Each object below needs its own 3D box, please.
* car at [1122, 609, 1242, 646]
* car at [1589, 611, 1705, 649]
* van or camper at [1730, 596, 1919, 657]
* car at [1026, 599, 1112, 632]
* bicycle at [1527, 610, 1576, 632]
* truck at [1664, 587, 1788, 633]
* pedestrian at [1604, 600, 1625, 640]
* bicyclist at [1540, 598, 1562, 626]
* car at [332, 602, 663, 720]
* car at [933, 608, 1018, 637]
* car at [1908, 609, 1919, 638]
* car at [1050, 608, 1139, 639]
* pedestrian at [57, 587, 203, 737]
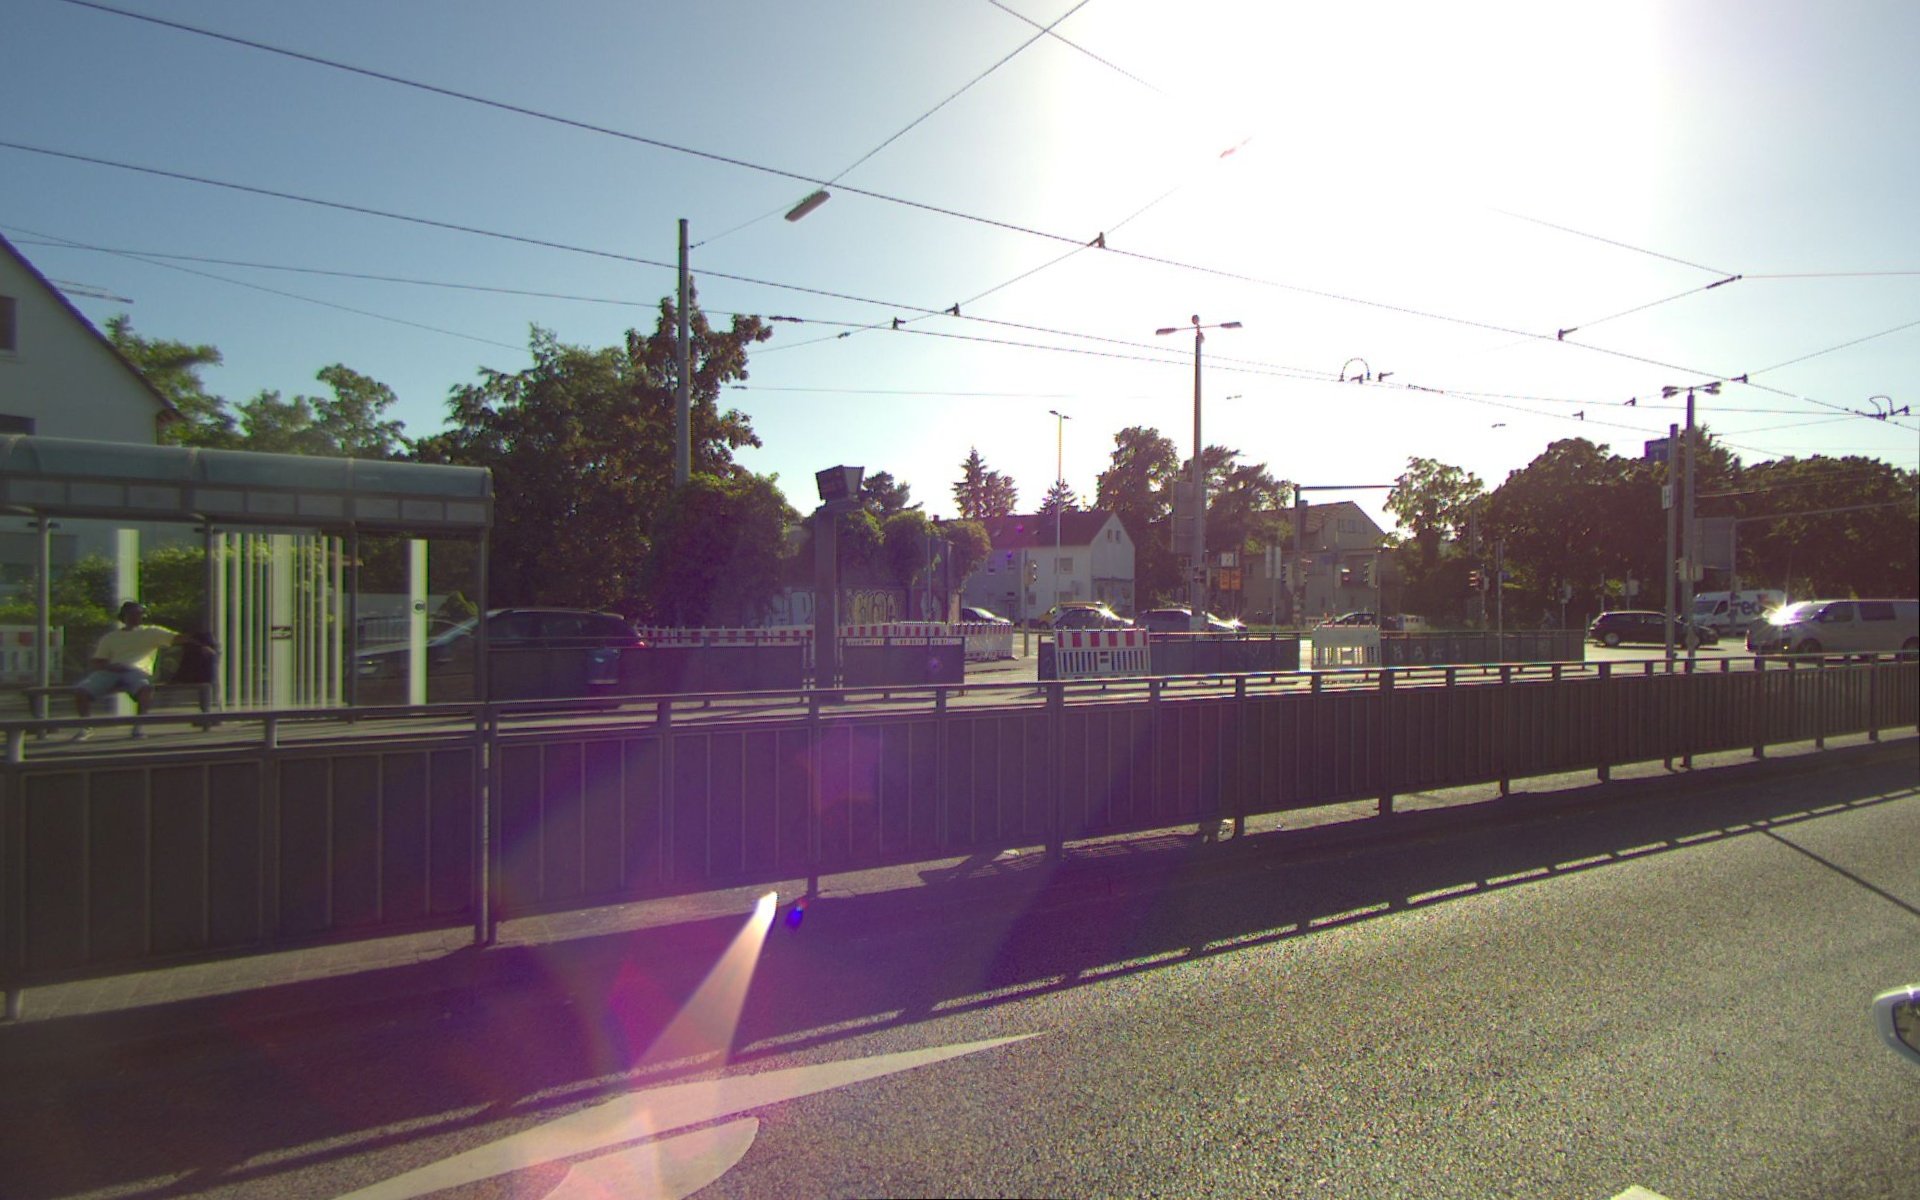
[{"bbox_3d":[9.519,1.131,43.307,4.754,1.517,1.780,0,-1,34],"label":"car"},{"bbox_3d":[26.342,1.117,38.658,3.613,1.397,1.524,0,-1,33],"label":"car"},{"bbox_3d":[28.213,0.819,31.938,5.867,1.852,2.001,0,0,2],"label":"van or camper"},{"bbox_3d":[6.957,0.961,64.278,5.084,1.905,1.994,2,1,34],"label":"car"},{"bbox_3d":[34.540,1.225,58.693,2.370,1.279,0.813,0,0,43],"label":"bicycle"},{"bbox_3d":[43.911,0.591,57.611,6.708,2.599,1.994,0,0,-15],"label":"truck"},{"bbox_3d":[33.546,1.020,51.511,0.785,2.040,0.741,0,0,-42],"label":"pedestrian"},{"bbox_3d":[34.544,0.693,58.701,0.995,1.669,0.813,0,0,42],"label":"bicyclist"},{"bbox_3d":[-6.809,0.825,14.998,4.294,1.540,1.727,1,-1,-31],"label":"car"},{"bbox_3d":[0.808,1.171,53.526,4.212,1.451,1.788,0,-1,34],"label":"car"},{"bbox_3d":[54.032,1.308,55.452,4.244,1.569,1.819,1,-1,-37],"label":"car"},{"bbox_3d":[6.591,1.142,49.375,4.104,1.451,1.589,0,-1,34],"label":"car"},{"bbox_3d":[-8.659,0.622,10.548,0.995,1.472,1.055,1,-1,-31],"label":"pedestrian"}]
